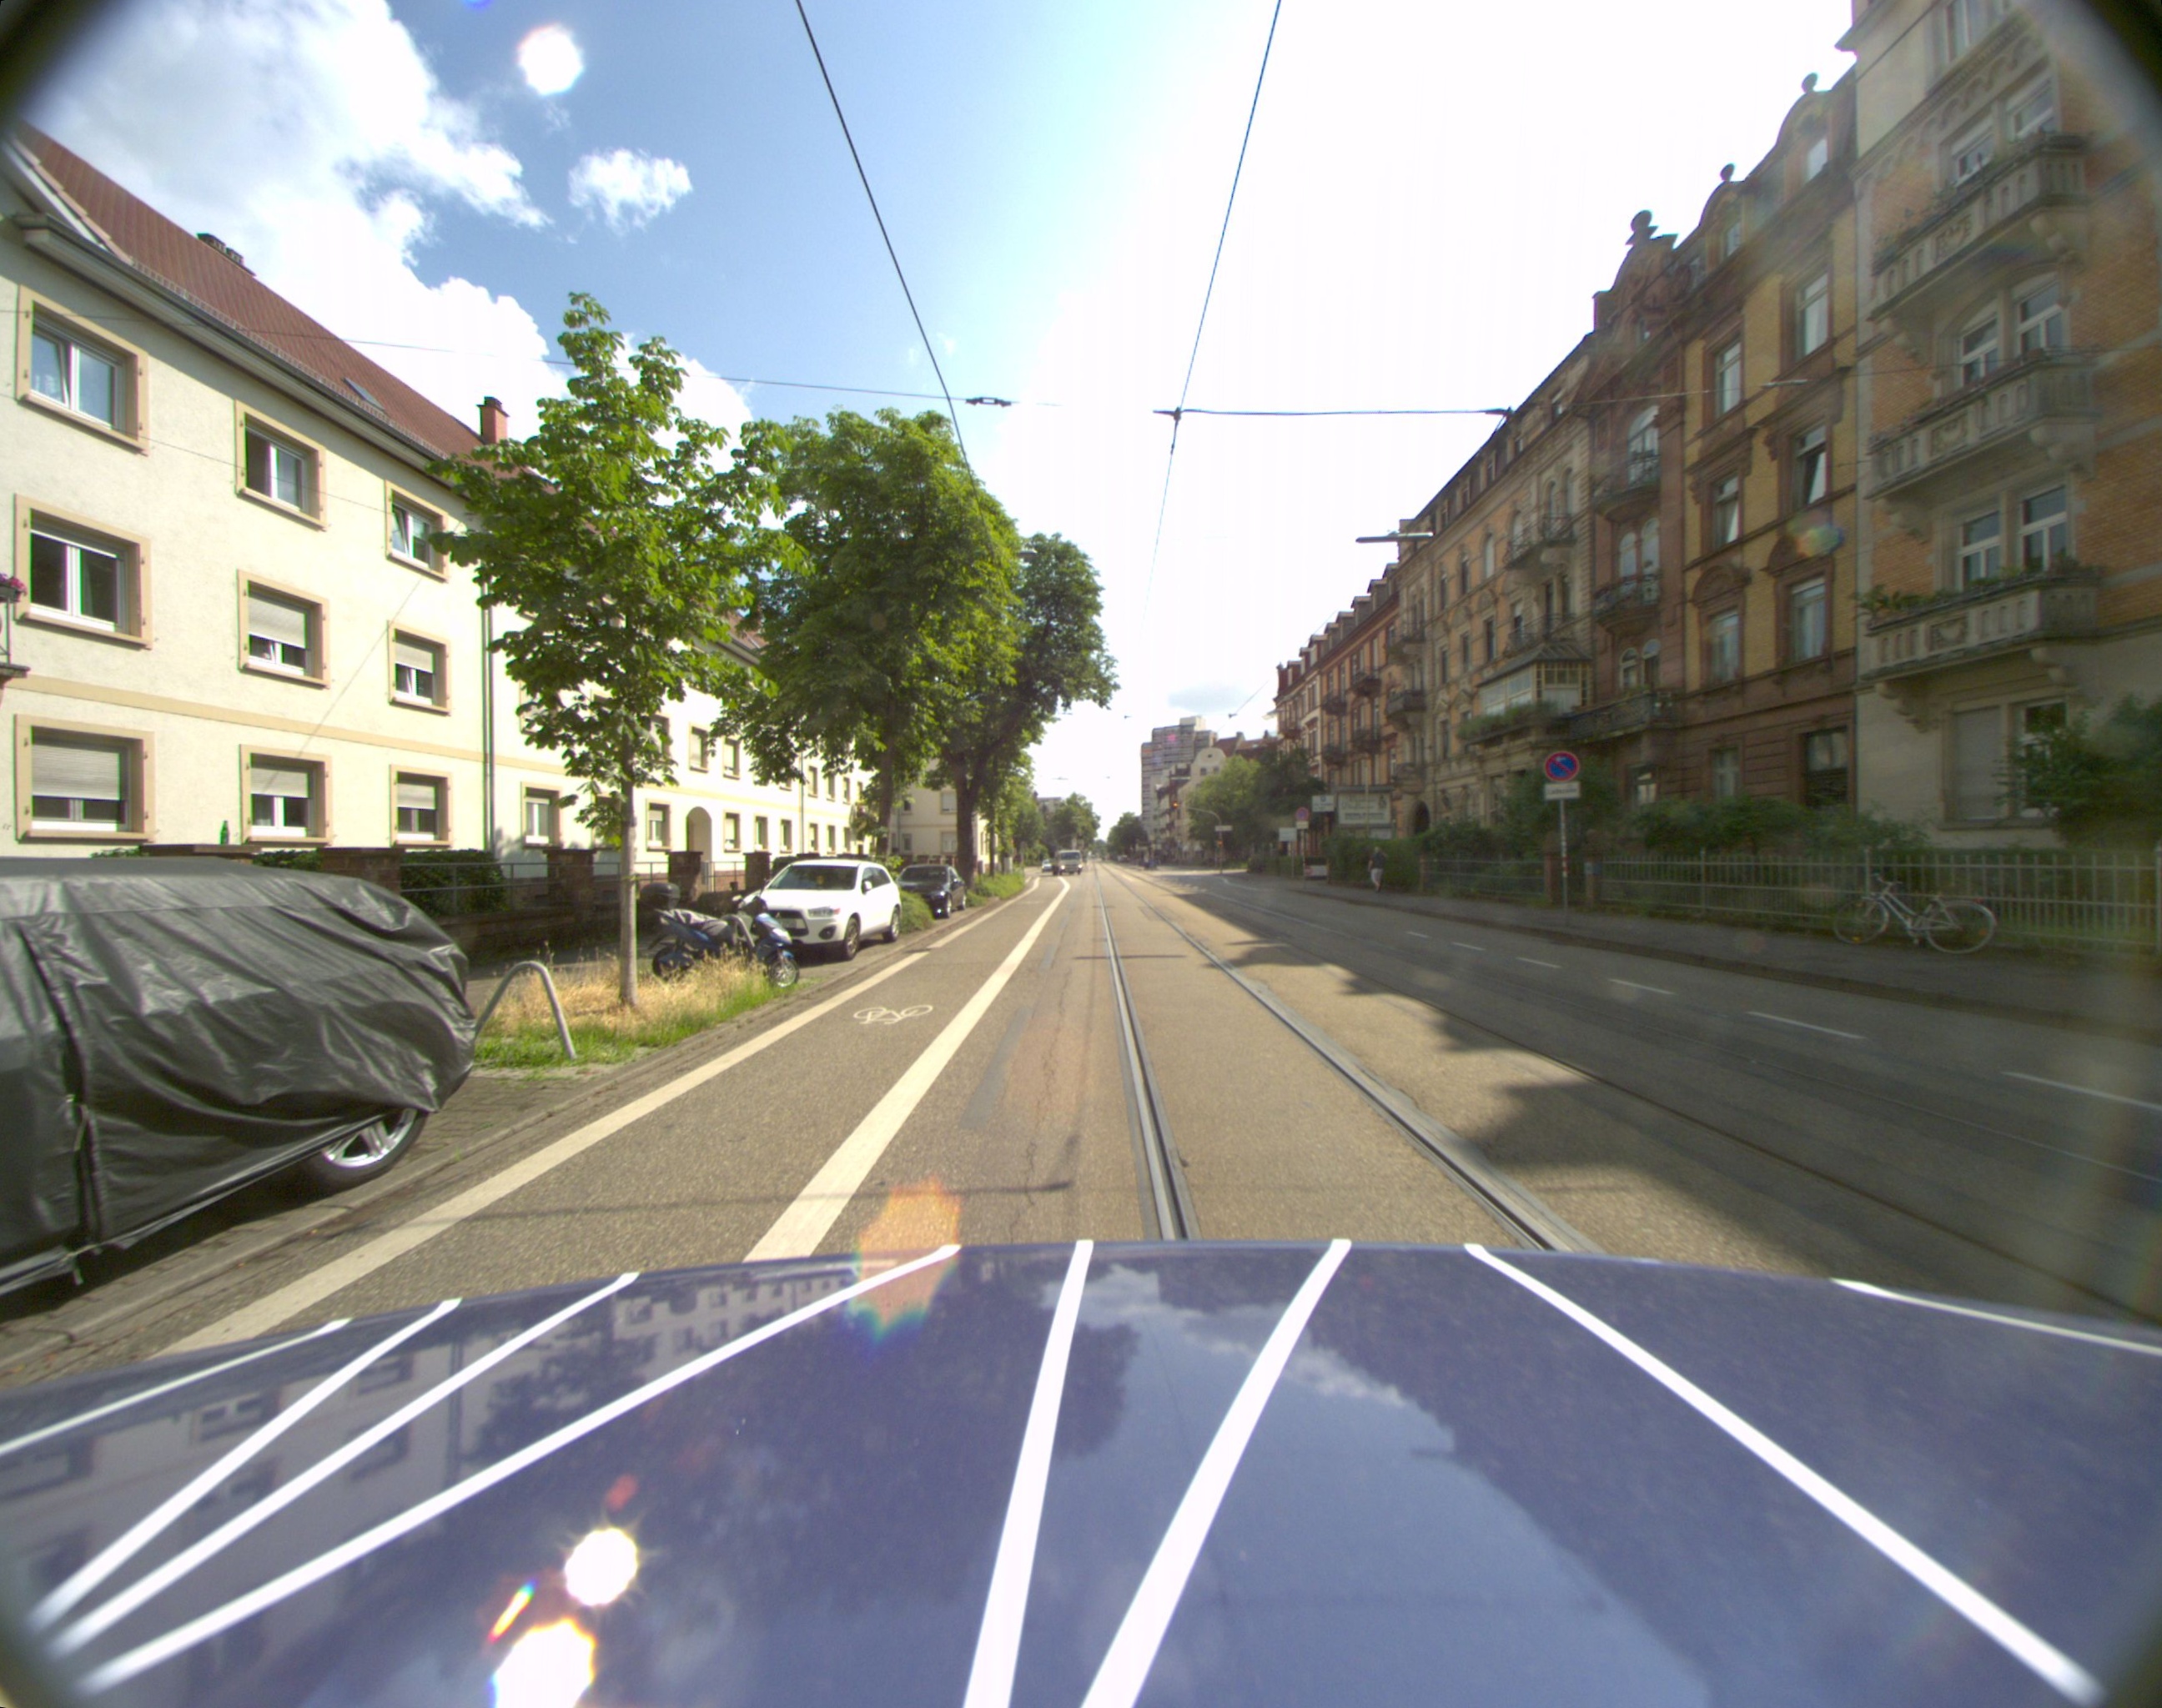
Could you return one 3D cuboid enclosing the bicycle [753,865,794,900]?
[{"bbox_3d":[-10.604,0.971,26.237,0.626,1.128,1.801,-1,0,1],"label":"bicycle"}]

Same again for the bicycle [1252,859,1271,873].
[{"bbox_3d":[14.109,0.942,59.376,1.308,1.124,0.497,-1,1,0],"label":"bicycle"}]

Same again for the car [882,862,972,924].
[{"bbox_3d":[-4.316,1.034,21.905,1.665,1.512,4.287,-1,0,0],"label":"car"}]

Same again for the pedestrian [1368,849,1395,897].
[{"bbox_3d":[11.047,0.683,27.964,0.489,1.693,1.151,-1,1,-1],"label":"pedestrian"}]

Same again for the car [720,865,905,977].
[{"bbox_3d":[-4.518,1.031,13.520,1.746,1.571,4.248,-1,0,0],"label":"car"}]

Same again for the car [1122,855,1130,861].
[{"bbox_3d":[11.969,0.945,201.220,1.841,1.482,3.892,-1,0,1],"label":"car"}]

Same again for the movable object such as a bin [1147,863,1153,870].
[{"bbox_3d":[7.591,1.377,83.872,0.513,0.713,0.457,-1,0,-13],"label":"movable object such as a bin"}]

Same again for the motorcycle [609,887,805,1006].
[{"bbox_3d":[-4.560,1.110,9.381,2.012,1.329,0.747,-1,1,-3],"label":"motorcycle"}]

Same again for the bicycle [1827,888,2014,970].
[{"bbox_3d":[11.418,0.979,10.442,0.422,0.927,1.949,-1,0,0],"label":"bicycle"}]

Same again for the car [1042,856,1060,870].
[{"bbox_3d":[-3.399,1.043,87.816,1.751,1.471,3.653,-3,1,2],"label":"car"}]

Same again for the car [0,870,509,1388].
[{"bbox_3d":[-4.490,0.945,2.350,1.867,1.643,4.637,-1,0,1],"label":"car"}]

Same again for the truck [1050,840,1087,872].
[{"bbox_3d":[-1.218,0.185,70.360,2.533,2.722,6.510,-1,0,-8],"label":"truck"}]

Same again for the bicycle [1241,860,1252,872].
[{"bbox_3d":[13.273,0.976,60.850,0.560,0.927,1.826,-1,0,4],"label":"bicycle"}]

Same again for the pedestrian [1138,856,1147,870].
[{"bbox_3d":[6.758,0.968,83.434,0.783,1.565,0.692,-1,0,-13],"label":"pedestrian"}]
